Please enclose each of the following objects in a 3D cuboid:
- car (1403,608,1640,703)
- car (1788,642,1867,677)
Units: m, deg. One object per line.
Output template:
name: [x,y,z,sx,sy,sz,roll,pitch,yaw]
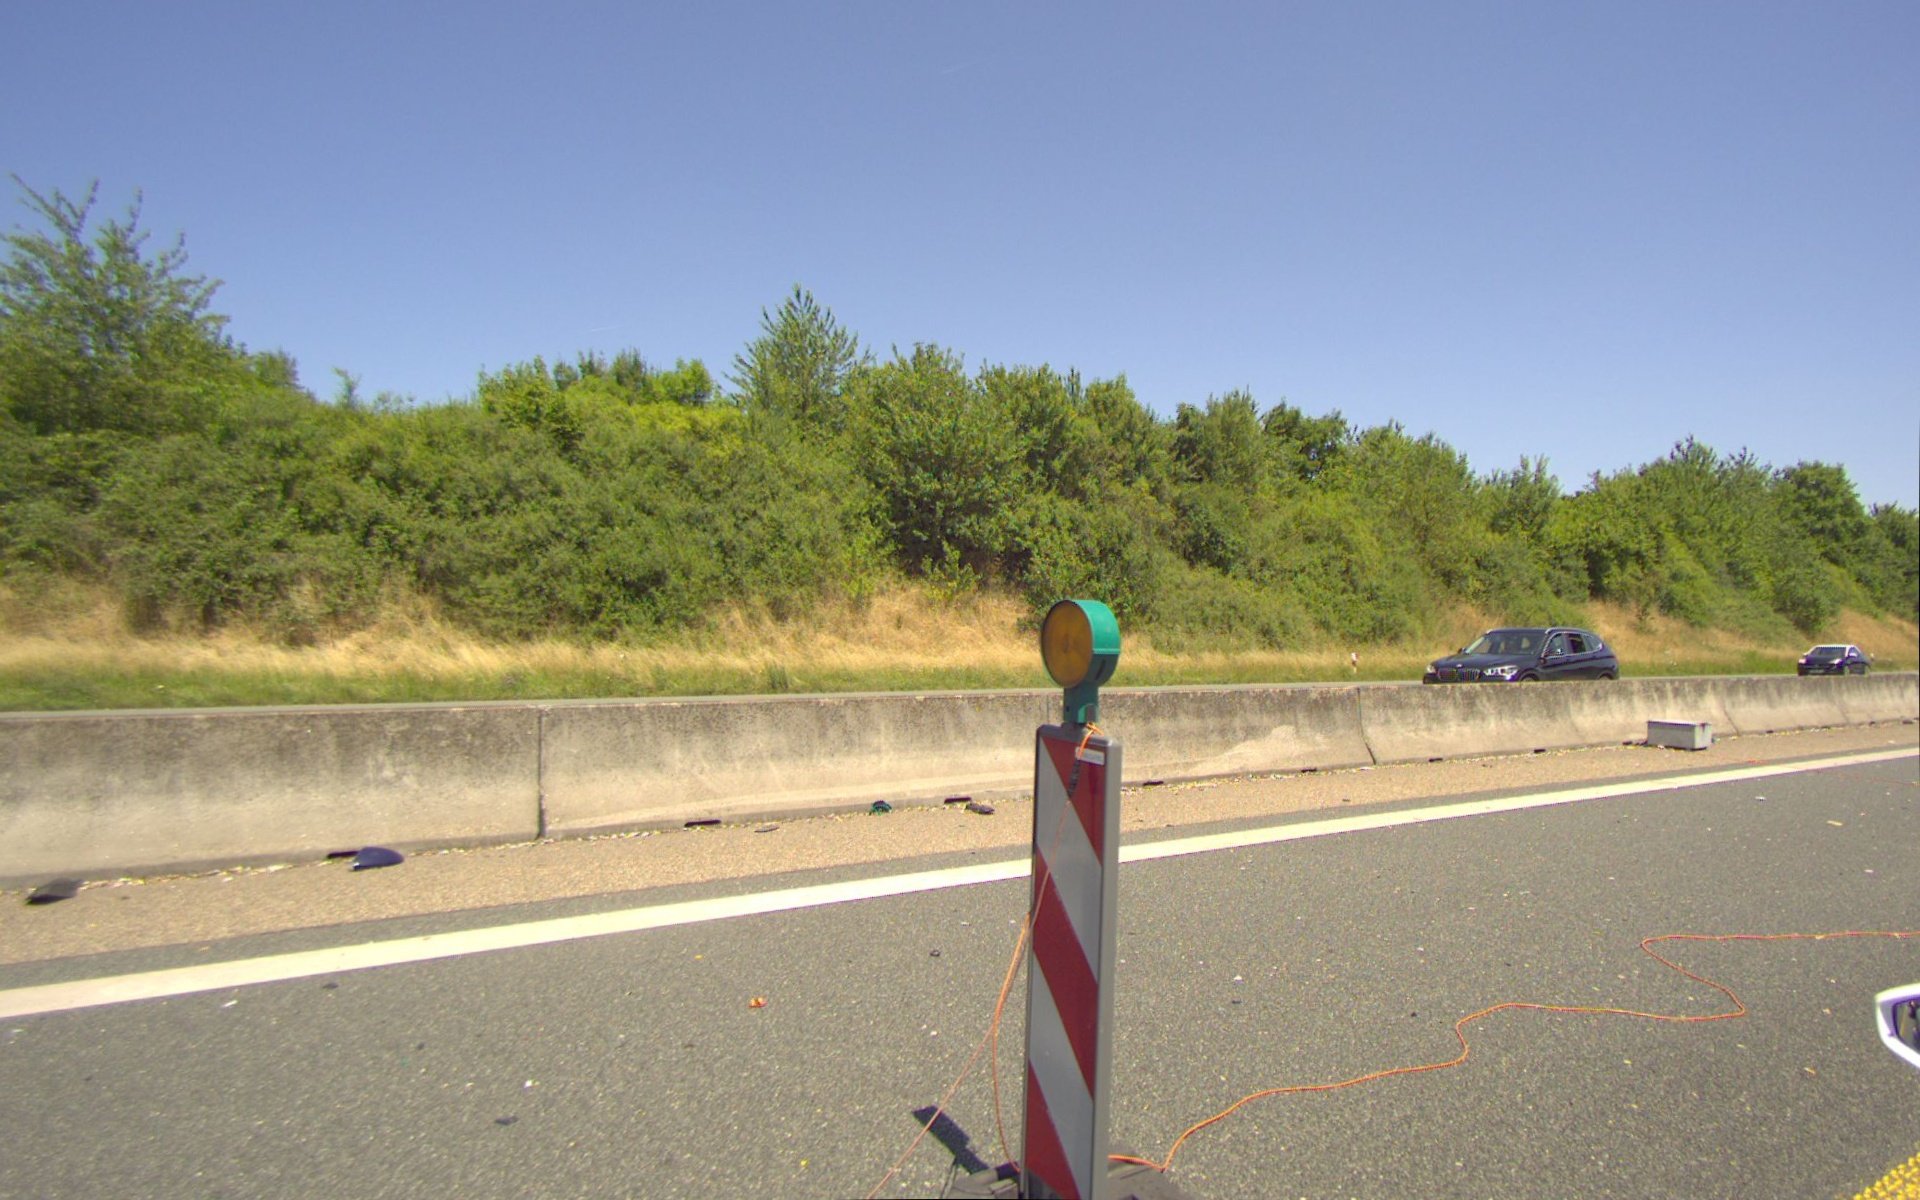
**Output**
car: [10.801,1.030,19.252,4.529,1.621,1.984,2,-2,-30]
car: [38.813,2.636,44.915,3.734,1.484,1.566,2,-2,-30]
